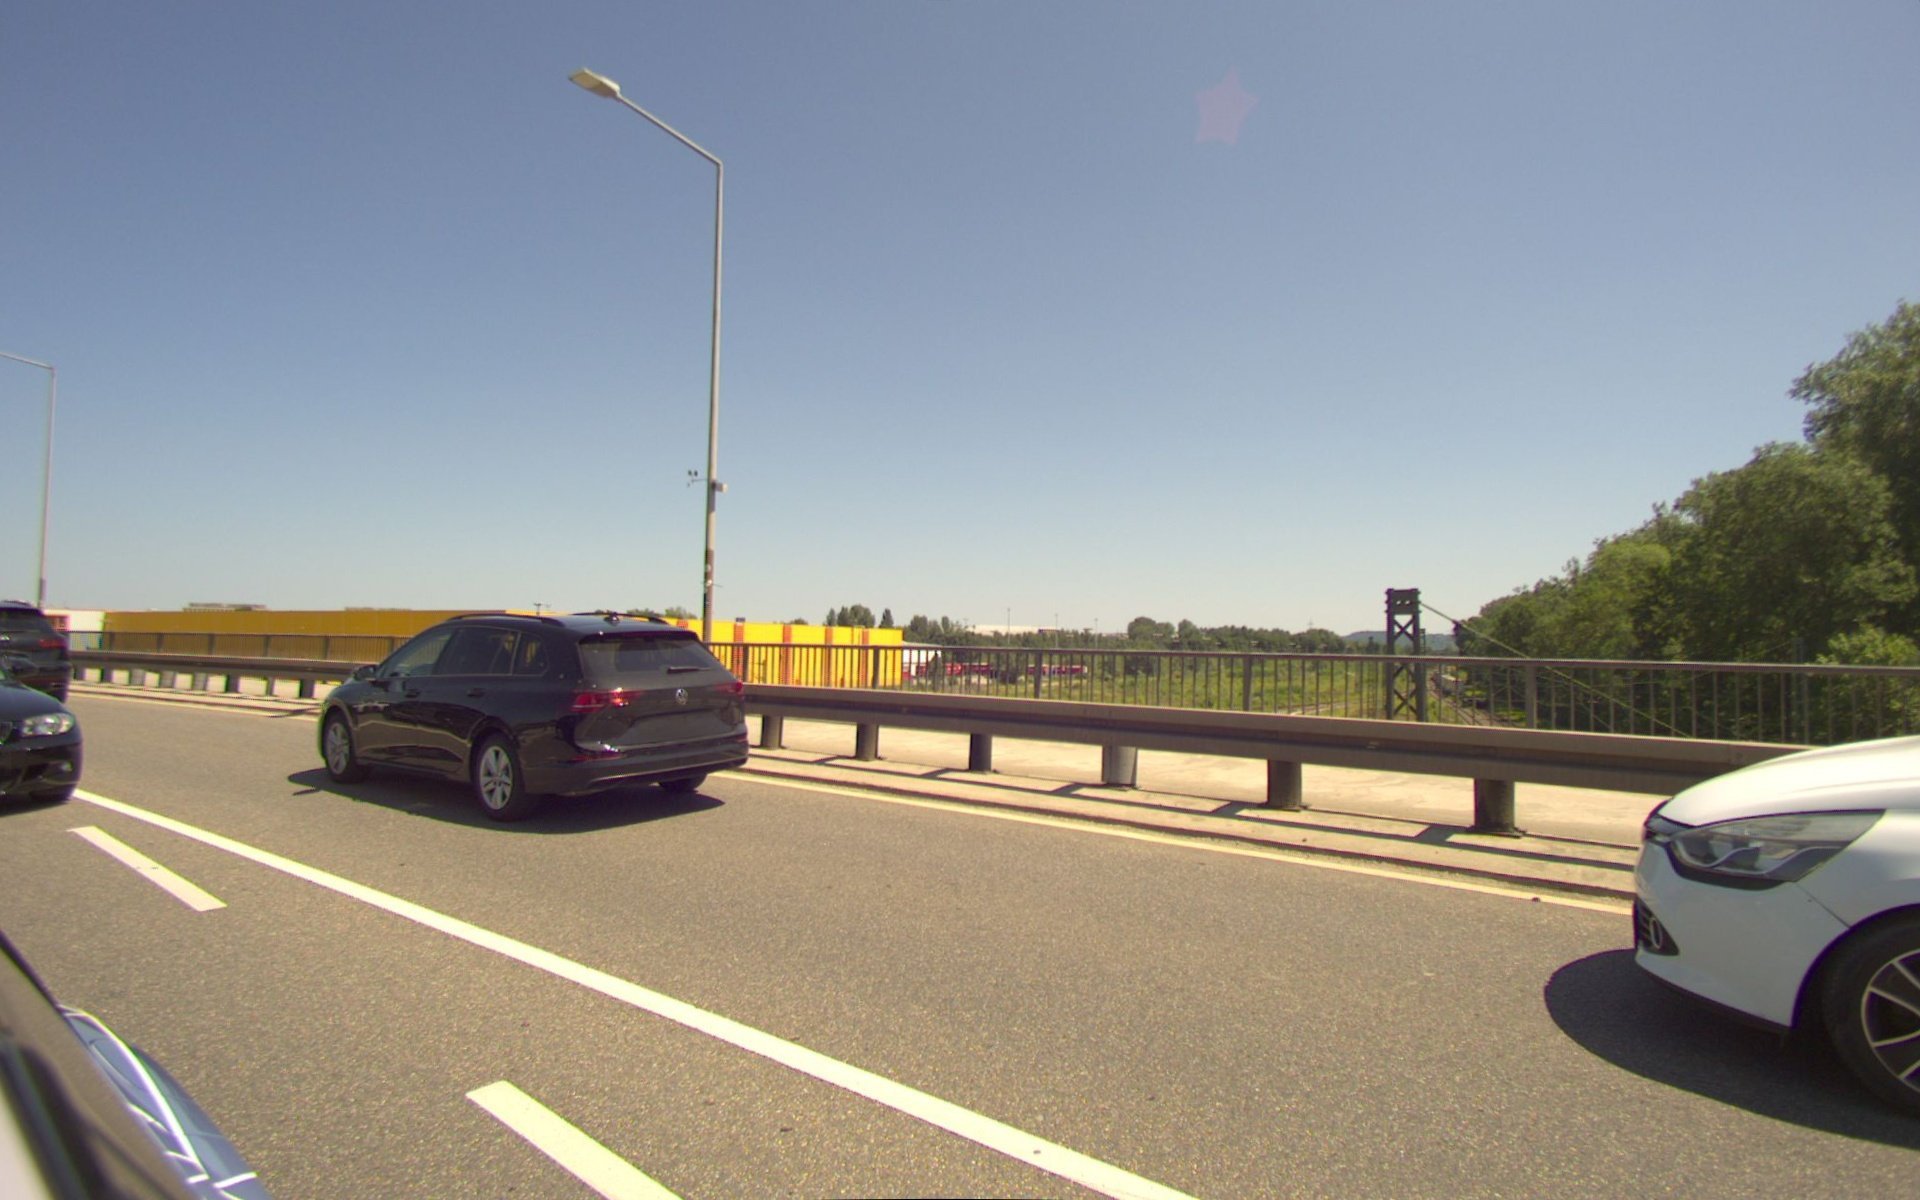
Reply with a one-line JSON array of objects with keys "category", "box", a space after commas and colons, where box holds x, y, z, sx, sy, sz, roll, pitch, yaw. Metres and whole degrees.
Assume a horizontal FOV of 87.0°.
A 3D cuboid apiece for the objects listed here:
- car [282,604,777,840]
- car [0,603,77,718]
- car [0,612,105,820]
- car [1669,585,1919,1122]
[{"category": "car", "box": [-3.694, 0.806, 8.348, 4.450, 1.480, 1.695, -1, -1, 35]}, {"category": "car", "box": [-16.075, 0.910, 16.002, 4.599, 1.686, 1.951, -1, -2, 32]}, {"category": "car", "box": [-8.805, 0.843, 8.220, 4.513, 1.466, 1.774, -1, -1, 35]}, {"category": "car", "box": [4.250, 0.679, 2.444, 4.051, 1.460, 1.583, -1, -1, 39]}]
